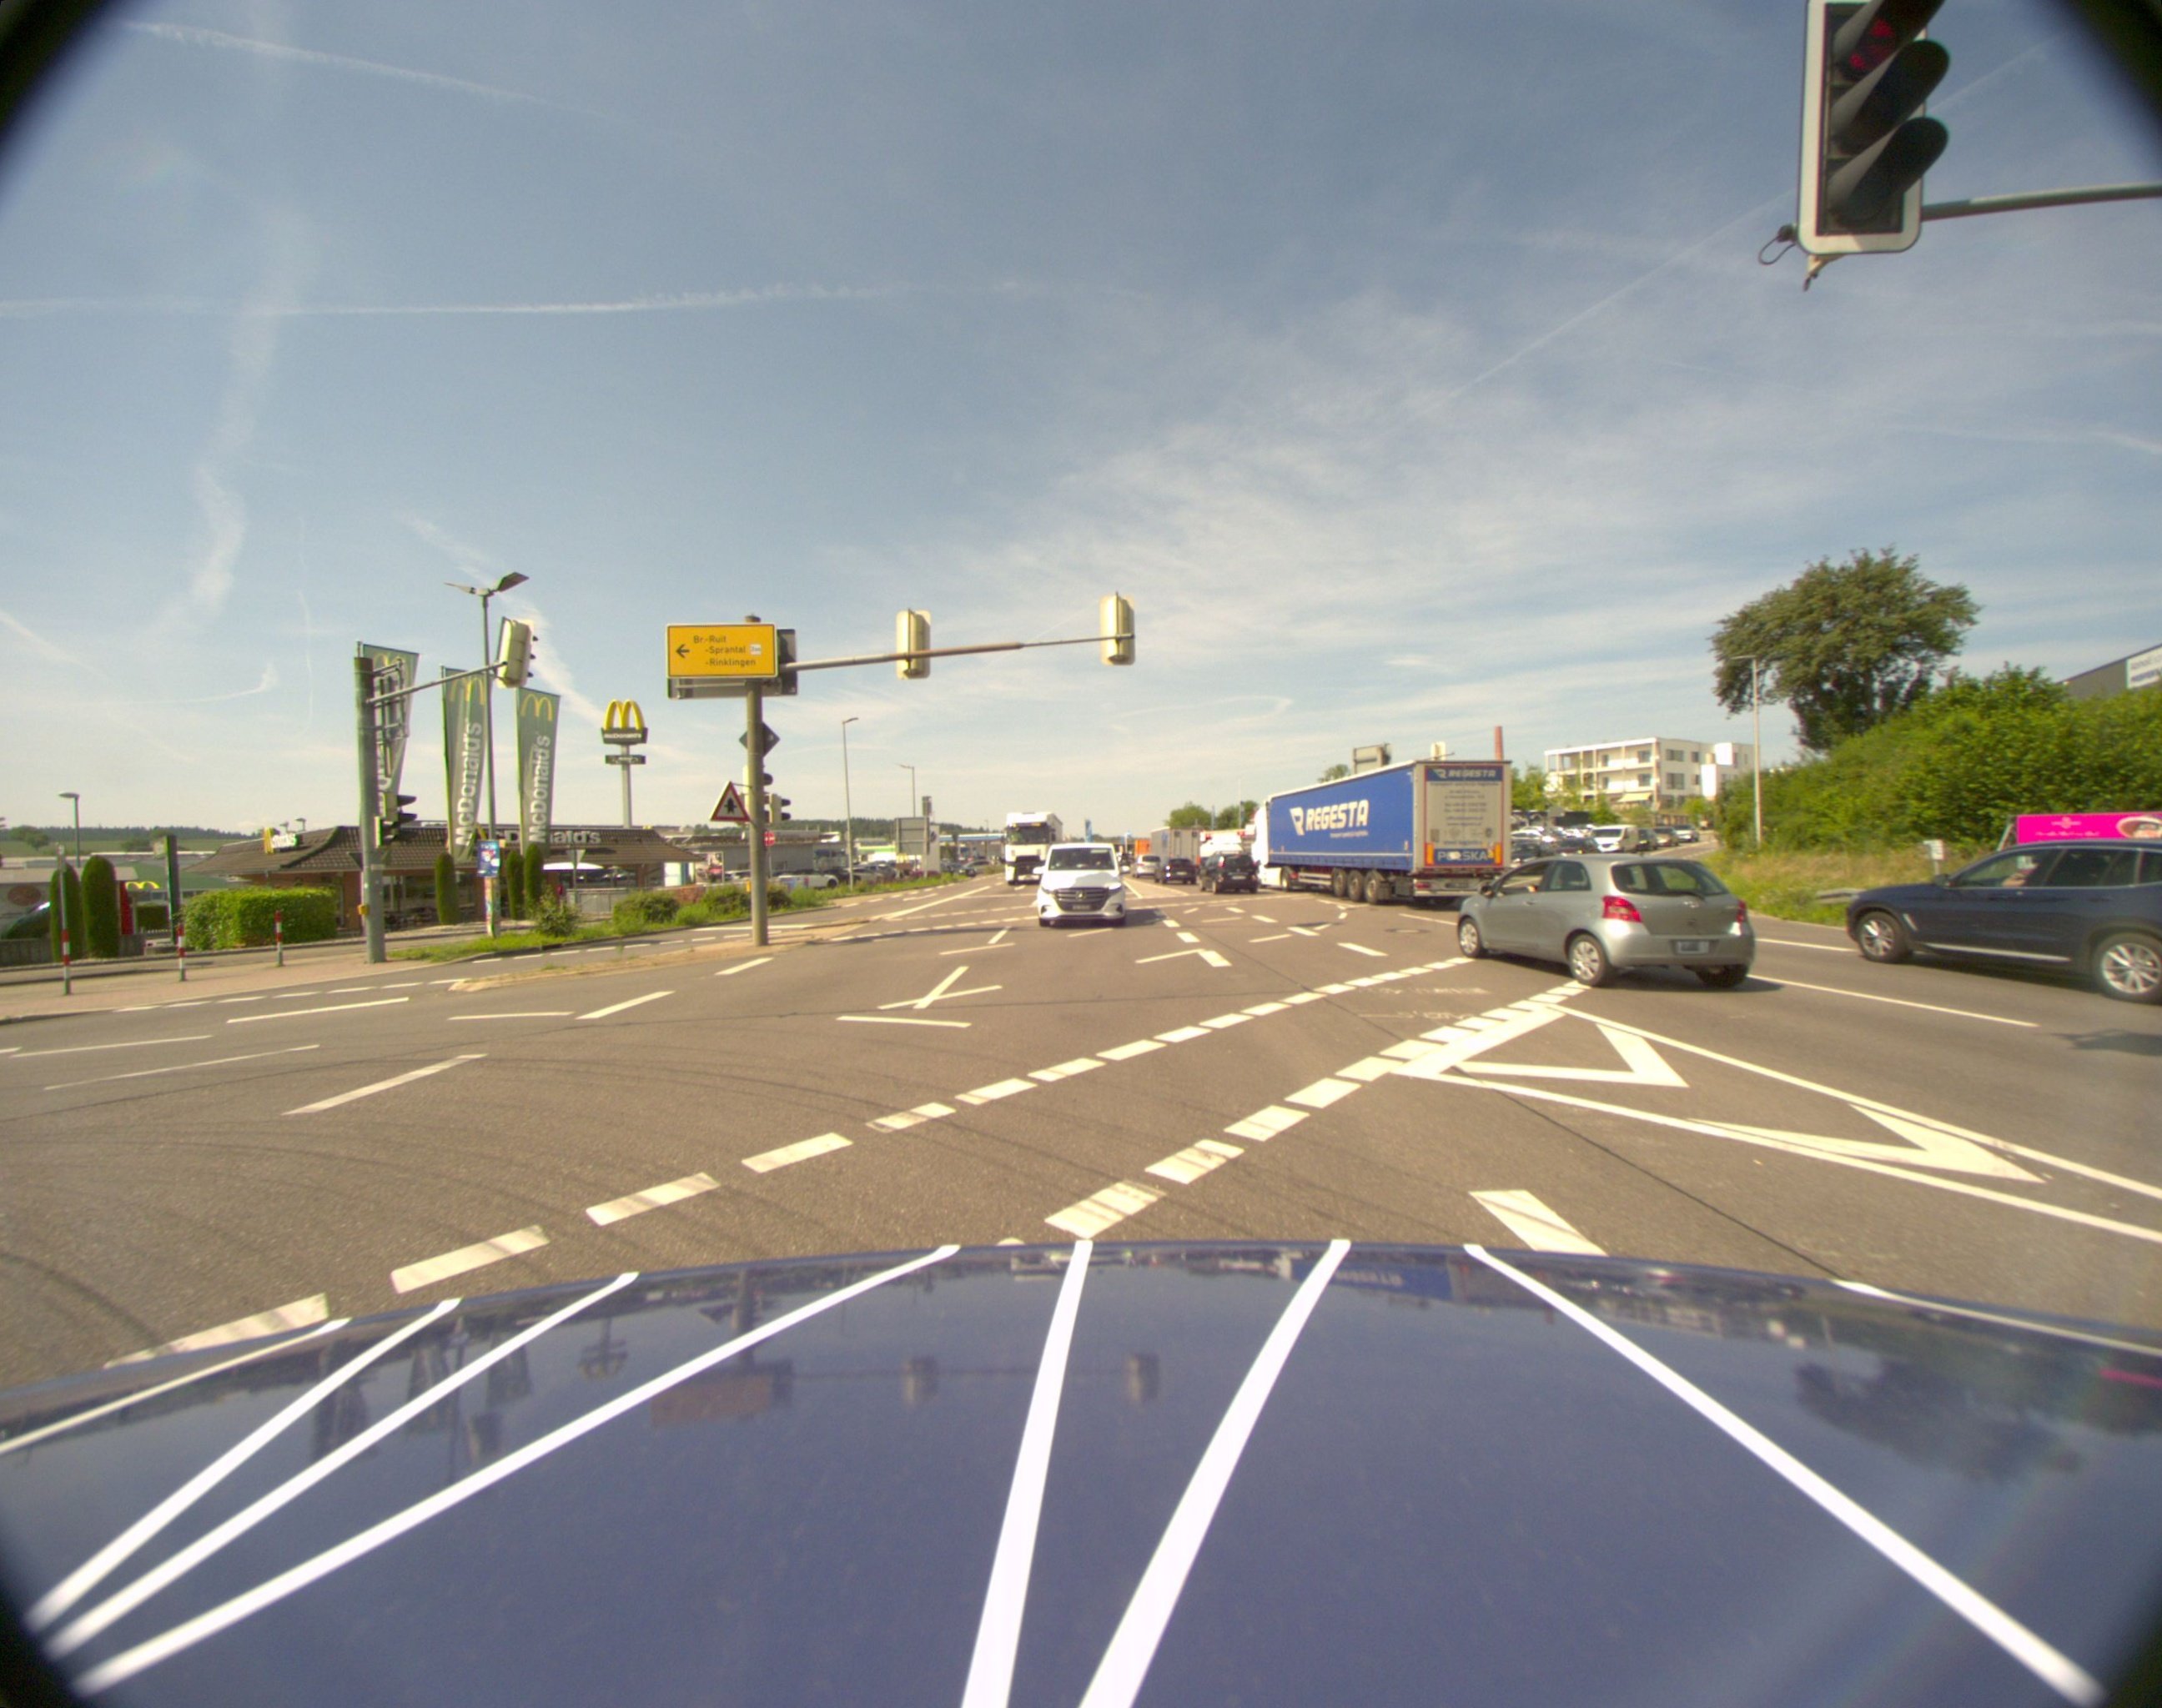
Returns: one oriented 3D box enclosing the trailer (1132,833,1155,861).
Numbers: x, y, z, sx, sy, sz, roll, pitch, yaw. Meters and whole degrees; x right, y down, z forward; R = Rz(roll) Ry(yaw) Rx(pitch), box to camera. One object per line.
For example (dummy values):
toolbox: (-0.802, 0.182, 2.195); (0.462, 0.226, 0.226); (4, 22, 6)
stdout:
trailer: (9.461, -1.077, 115.922); (2.727, 3.975, 12.234); (0, 0, 1)

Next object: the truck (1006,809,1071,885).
truck: (-2.289, -0.374, 43.192); (2.646, 3.963, 6.044); (0, 0, 7)

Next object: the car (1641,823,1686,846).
car: (45.352, -1.529, 59.139); (4.517, 1.554, 1.994); (-4, 3, -42)

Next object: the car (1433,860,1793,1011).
car: (6.368, 0.844, 9.759); (1.730, 1.493, 3.999); (0, 0, -2)

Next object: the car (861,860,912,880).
car: (-17.292, 1.421, 67.482); (4.031, 1.661, 1.772); (-1, 1, -29)

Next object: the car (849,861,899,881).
car: (-18.853, 1.505, 69.300); (4.007, 1.661, 1.916); (-1, 1, -36)

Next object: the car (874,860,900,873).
car: (-25.119, 1.607, 98.731); (1.774, 1.645, 4.540); (0, 0, 6)

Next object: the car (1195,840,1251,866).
car: (15.496, -0.108, 82.988); (5.721, 2.821, 2.117); (0, 0, 3)

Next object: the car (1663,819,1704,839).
car: (51.157, -2.156, 64.508); (4.517, 1.554, 1.994); (-4, 3, -42)

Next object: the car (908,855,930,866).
car: (-26.000, 1.032, 122.173); (1.773, 1.645, 4.541); (0, 0, 10)

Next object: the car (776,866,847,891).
car: (-18.352, 1.631, 51.868); (1.855, 1.567, 4.242); (0, 0, 37)

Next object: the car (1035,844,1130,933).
car: (0.098, 0.717, 18.846); (1.993, 1.858, 5.803); (0, 0, 1)

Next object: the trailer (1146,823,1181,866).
trailer: (8.121, -0.882, 75.549); (2.652, 4.081, 6.179); (-1, 0, -2)

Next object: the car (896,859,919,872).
car: (-22.208, 1.453, 97.320); (1.968, 1.645, 4.537); (-1, 0, -2)

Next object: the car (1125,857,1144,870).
car: (6.675, 1.203, 94.465); (1.925, 1.593, 4.592); (1, 0, 8)

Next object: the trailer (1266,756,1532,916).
trailer: (9.863, -0.488, 26.478); (3.101, 4.056, 14.124); (-1, 0, -1)

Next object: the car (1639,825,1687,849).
car: (41.147, -1.220, 53.677); (4.517, 1.554, 1.994); (-4, 3, -43)

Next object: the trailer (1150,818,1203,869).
trailer: (8.343, -0.880, 68.518); (2.699, 4.123, 13.876); (-1, 0, -1)

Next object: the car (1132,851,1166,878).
car: (4.730, 0.712, 53.672); (1.848, 1.722, 4.588); (-2, 0, -1)

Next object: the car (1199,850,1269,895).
car: (6.103, 0.693, 30.812); (1.999, 1.716, 3.999); (-1, 0, 0)

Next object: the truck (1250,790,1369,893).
truck: (9.733, -0.517, 33.191); (3.196, 4.056, 6.344); (-1, 0, -1)

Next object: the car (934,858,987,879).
car: (-10.335, 1.257, 65.031); (1.969, 1.325, 4.804); (-7, 2, -44)

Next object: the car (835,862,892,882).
car: (-17.594, 1.463, 61.693); (1.744, 1.483, 4.273); (0, 0, 37)

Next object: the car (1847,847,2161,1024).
car: (11.481, 0.768, 8.450); (1.997, 1.667, 4.310); (0, 0, 9)

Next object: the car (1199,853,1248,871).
car: (13.495, 0.747, 71.948); (4.189, 1.613, 2.026); (-1, 1, -26)

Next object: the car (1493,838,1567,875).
car: (22.478, 0.114, 37.934); (4.644, 1.518, 1.910); (-5, 2, -43)

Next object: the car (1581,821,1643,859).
car: (33.457, -0.928, 47.820); (5.524, 2.030, 2.063); (-5, 2, -43)

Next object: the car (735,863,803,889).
car: (-22.321, 1.536, 54.488); (1.771, 1.661, 4.179); (0, 1, 37)

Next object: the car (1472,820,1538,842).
car: (33.220, -1.794, 59.549); (2.003, 1.554, 4.059); (-4, 3, -41)

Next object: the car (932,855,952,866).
car: (-21.203, 1.017, 115.947); (1.774, 1.645, 4.540); (0, 0, 7)

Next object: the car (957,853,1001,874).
car: (-10.930, 1.001, 81.619); (4.355, 2.200, 1.759); (-1, 1, -28)

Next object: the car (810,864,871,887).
car: (-17.994, 1.580, 57.052); (1.771, 1.523, 4.098); (0, 0, 37)

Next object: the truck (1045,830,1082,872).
truck: (-1.634, -0.313, 75.625); (2.646, 3.963, 9.242); (0, 0, 5)

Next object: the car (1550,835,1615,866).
car: (28.414, -0.217, 43.002); (4.982, 1.411, 1.944); (-5, 3, -43)

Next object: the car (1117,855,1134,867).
car: (6.145, 0.966, 104.887); (1.913, 1.593, 4.588); (1, 0, -1)

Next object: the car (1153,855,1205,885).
car: (5.280, 0.833, 41.554); (1.999, 1.476, 4.452); (-1, 0, -3)

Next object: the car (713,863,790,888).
car: (-24.135, 1.547, 55.799); (1.907, 1.661, 4.828); (0, 0, 37)

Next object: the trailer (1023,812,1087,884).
trailer: (-1.495, -0.400, 50.153); (2.612, 4.203, 11.297); (0, 0, 6)

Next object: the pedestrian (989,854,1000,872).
pedestrian: (-9.538, 1.006, 83.896); (0.990, 1.900, 0.742); (-1, 1, -33)

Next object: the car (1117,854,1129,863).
car: (7.084, 0.720, 127.988); (1.866, 1.515, 4.589); (0, 0, 1)
